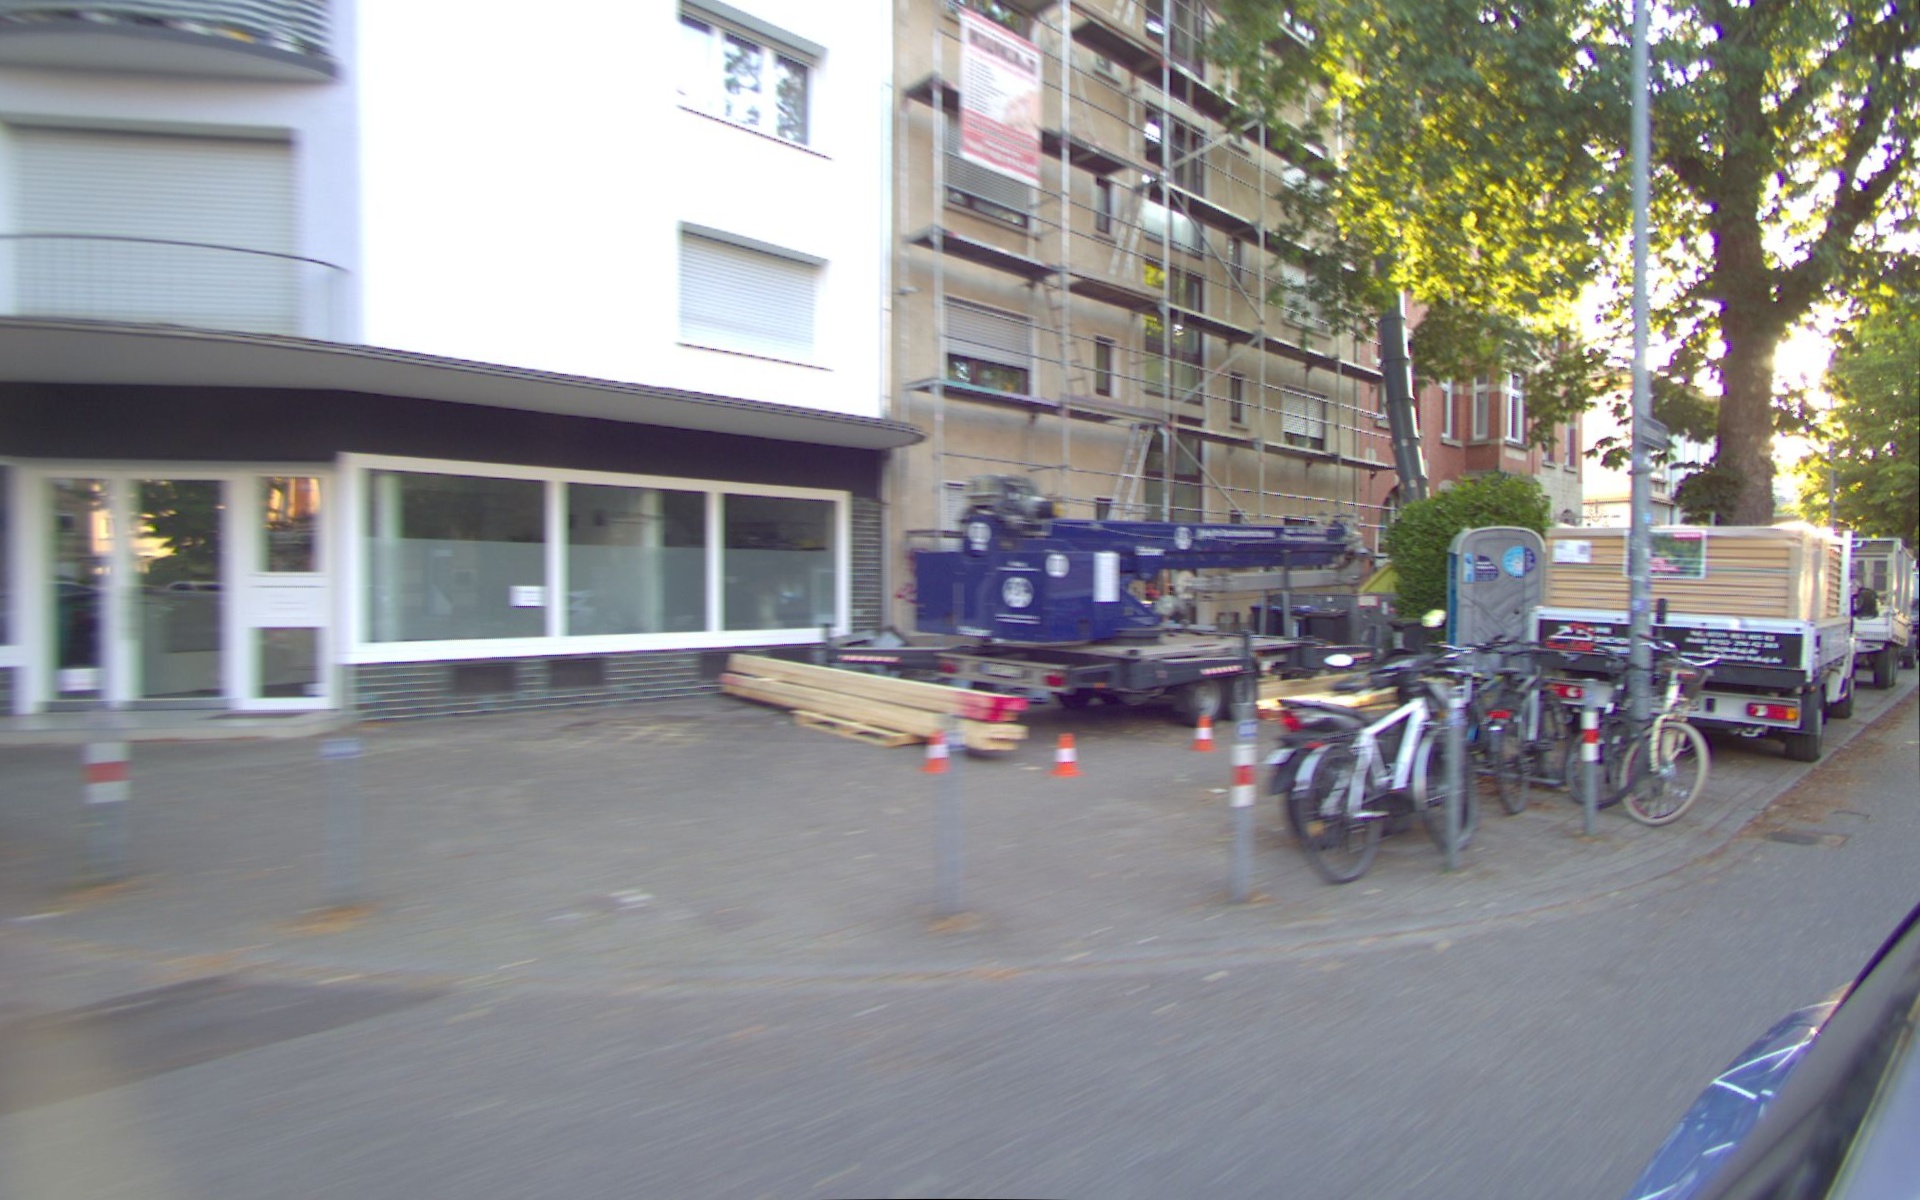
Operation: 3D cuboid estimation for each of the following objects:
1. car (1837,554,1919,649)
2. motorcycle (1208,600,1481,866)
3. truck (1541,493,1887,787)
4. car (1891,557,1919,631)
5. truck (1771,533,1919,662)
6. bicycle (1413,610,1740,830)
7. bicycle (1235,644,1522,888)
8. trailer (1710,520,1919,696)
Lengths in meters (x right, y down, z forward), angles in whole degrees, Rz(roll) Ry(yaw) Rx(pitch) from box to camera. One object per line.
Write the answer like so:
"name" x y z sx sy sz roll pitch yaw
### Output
"car" 21.673 0.020 23.198 4.536 1.966 1.841 0 3 -43
"motorcycle" 2.424 0.724 6.256 2.023 1.373 0.504 -1 3 -36
"truck" 8.371 0.215 10.874 6.666 2.272 1.978 -2 2 -44
"car" 29.463 -0.154 30.307 4.750 2.084 1.957 0 3 -44
"truck" 18.044 -0.093 20.268 4.563 2.274 1.958 0 3 -41
"bicycle" 4.310 0.771 7.212 1.902 1.274 0.400 4 3 43
"bicycle" 2.465 0.863 5.817 2.113 1.123 0.407 0 3 -35
"trailer" 13.416 0.026 15.684 4.566 2.323 1.957 -1 4 -43
